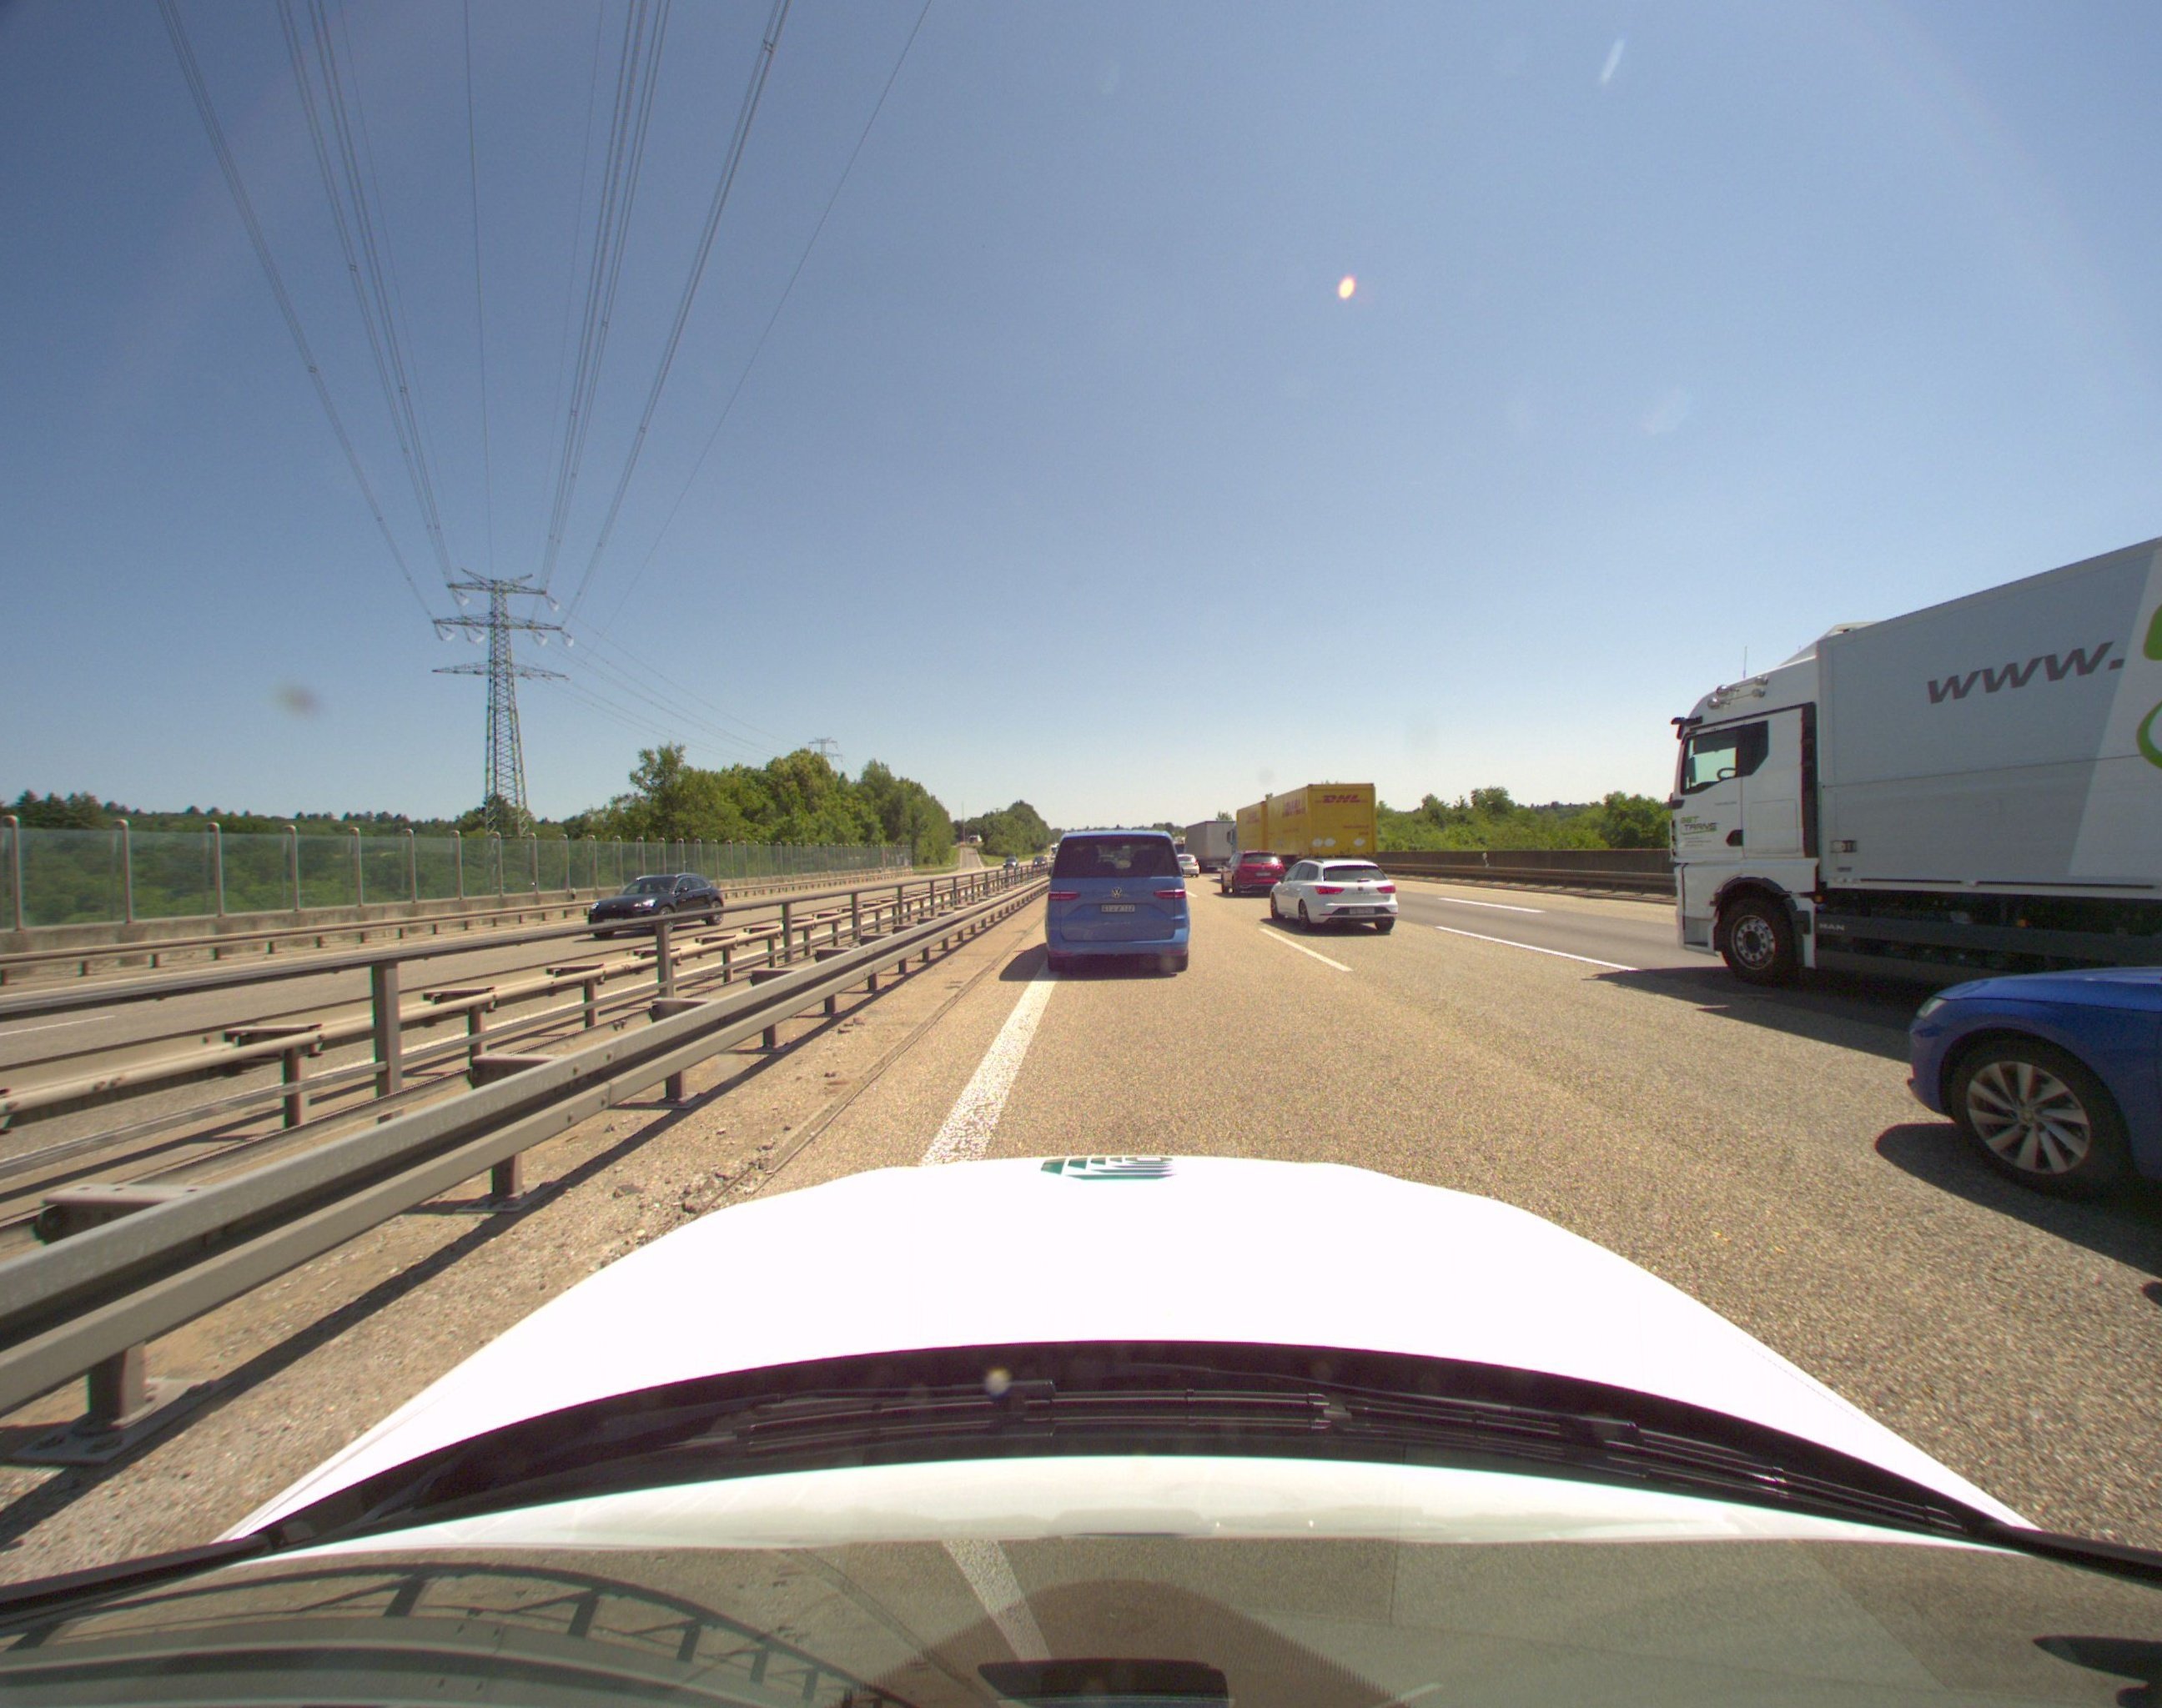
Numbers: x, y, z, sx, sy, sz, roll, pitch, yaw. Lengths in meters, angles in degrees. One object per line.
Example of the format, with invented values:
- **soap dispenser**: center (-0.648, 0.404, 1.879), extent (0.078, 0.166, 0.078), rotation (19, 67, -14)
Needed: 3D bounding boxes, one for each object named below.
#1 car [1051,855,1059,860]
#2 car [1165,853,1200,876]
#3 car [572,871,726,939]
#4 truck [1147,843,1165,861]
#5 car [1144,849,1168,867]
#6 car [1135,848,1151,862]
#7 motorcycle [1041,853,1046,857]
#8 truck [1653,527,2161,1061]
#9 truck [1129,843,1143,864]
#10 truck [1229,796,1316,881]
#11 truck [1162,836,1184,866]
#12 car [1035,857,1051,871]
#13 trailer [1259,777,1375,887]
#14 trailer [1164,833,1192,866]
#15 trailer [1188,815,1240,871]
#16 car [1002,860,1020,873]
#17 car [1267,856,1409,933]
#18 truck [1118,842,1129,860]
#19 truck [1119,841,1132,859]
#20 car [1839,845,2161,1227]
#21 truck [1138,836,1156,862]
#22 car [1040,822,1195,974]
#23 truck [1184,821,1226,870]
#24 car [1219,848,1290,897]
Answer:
- **car**: center (-7.135, 0.994, 221.670), extent (1.903, 1.394, 4.167), rotation (-3, -1, 2)
- **car**: center (6.630, 0.698, 53.664), extent (1.832, 1.414, 4.000), rotation (-1, 0, 0)
- **car**: center (-11.947, 1.349, 22.903), extent (1.773, 1.569, 4.388), rotation (-4, 0, 2)
- **truck**: center (13.437, -0.274, 146.756), extent (2.347, 3.218, 9.740), rotation (0, -1, 1)
- **car**: center (6.758, 0.364, 73.836), extent (1.710, 1.587, 3.820), rotation (-2, 0, -1)
- **car**: center (7.426, 0.155, 97.663), extent (1.709, 1.540, 3.823), rotation (-3, 0, 2)
- **motorcycle**: center (-11.286, 0.348, 246.107), extent (1.361, 1.099, 2.577), rotation (-4, 0, 2)
- **truck**: center (8.694, -0.413, 5.160), extent (2.840, 3.603, 10.772), rotation (0, -1, 2)
- **truck**: center (13.352, 0.003, 198.120), extent (2.824, 5.040, 11.816), rotation (0, -1, 1)
- **truck**: center (10.112, -0.670, 44.183), extent (2.711, 4.054, 10.341), rotation (0, -1, 2)
- **truck**: center (11.803, -0.354, 104.700), extent (2.359, 3.722, 6.035), rotation (0, -1, 1)
- **car**: center (-4.903, 1.313, 106.137), extent (1.748, 1.721, 4.103), rotation (-3, 0, 2)
- **trailer**: center (9.687, -0.762, 34.534), extent (2.691, 4.023, 8.935), rotation (0, -1, 3)
- **trailer**: center (11.622, -0.431, 98.610), extent (2.371, 3.744, 11.191), rotation (0, -1, 2)
- **trailer**: center (10.638, -0.764, 66.353), extent (2.744, 4.146, 11.316), rotation (0, -1, 2)
- **car**: center (-9.183, 1.602, 107.115), extent (1.748, 1.547, 4.002), rotation (-4, -1, 2)
- **car**: center (5.197, 0.753, 17.045), extent (1.774, 1.387, 4.190), rotation (-1, 0, 2)
- **truck**: center (13.225, -0.900, 251.382), extent (2.824, 5.373, 12.554), rotation (0, -1, 1)
- **truck**: center (12.623, -1.085, 230.176), extent (2.824, 4.885, 13.220), rotation (-3, 0, 1)
- **car**: center (4.927, 0.681, 2.151), extent (1.704, 1.440, 4.501), rotation (-1, 0, 1)
- **truck**: center (13.236, -0.945, 164.456), extent (2.824, 5.040, 11.145), rotation (0, -1, 1)
- **car**: center (0.520, 0.551, 12.050), extent (1.875, 1.837, 4.002), rotation (-1, 0, 2)
- **truck**: center (10.793, -0.696, 71.579), extent (2.758, 4.095, 6.985), rotation (0, -1, 1)
- **car**: center (6.228, 0.623, 29.645), extent (1.844, 1.608, 4.002), rotation (-1, 0, 2)
